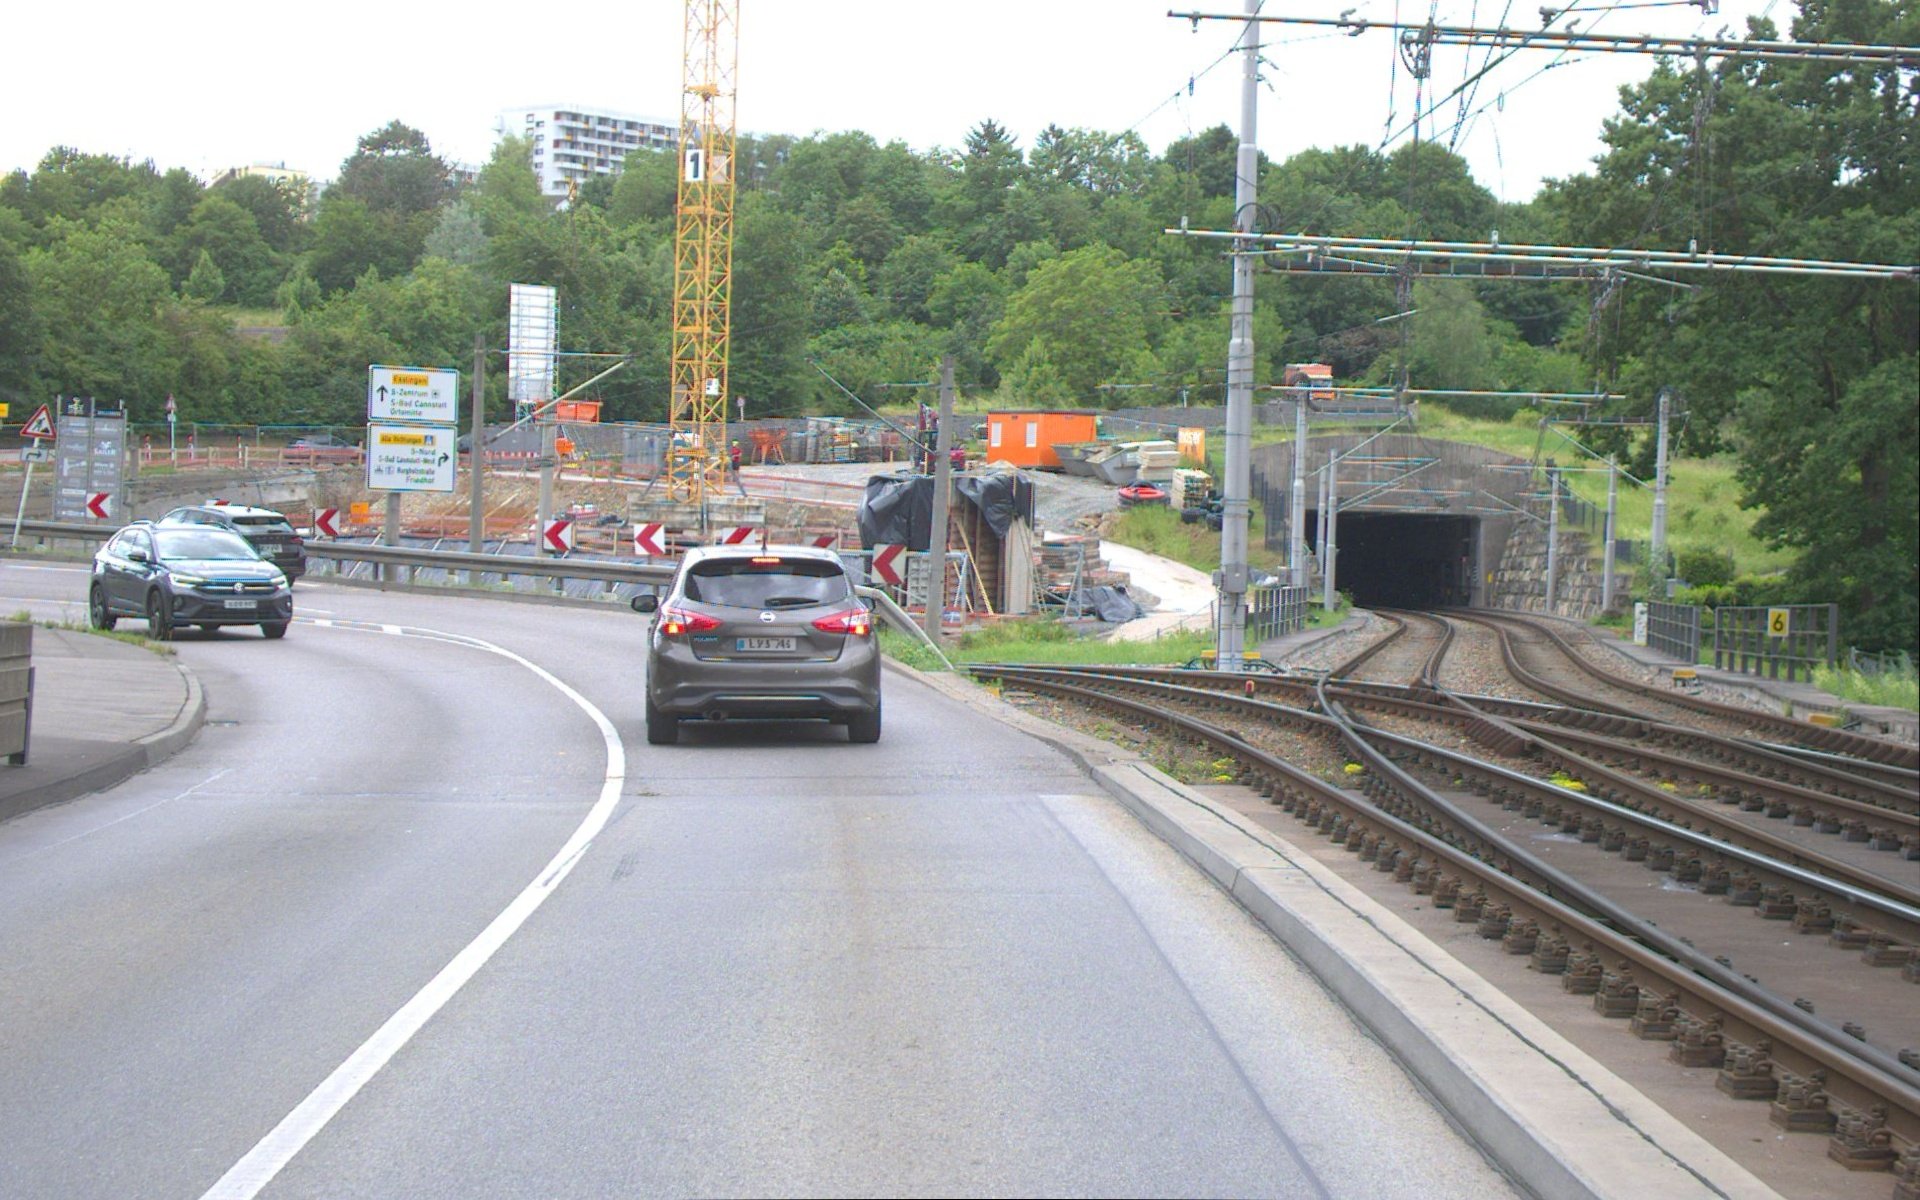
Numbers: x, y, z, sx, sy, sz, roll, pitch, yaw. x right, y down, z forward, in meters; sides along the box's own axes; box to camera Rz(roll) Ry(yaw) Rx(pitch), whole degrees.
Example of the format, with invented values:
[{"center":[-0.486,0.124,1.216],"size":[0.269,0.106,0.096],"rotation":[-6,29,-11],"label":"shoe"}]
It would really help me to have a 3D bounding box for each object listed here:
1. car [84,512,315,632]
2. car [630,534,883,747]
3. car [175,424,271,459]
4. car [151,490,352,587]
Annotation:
[{"center":[-10.211,-0.412,45.960],"size":[1.830,1.504,4.000],"rotation":[-1,2,-31],"label":"car"},{"center":[-1.612,0.259,27.301],"size":[1.829,1.504,4.001],"rotation":[1,1,-3],"label":"car"},{"center":[-33.817,-7.273,157.704],"size":[3.993,1.405,1.797],"rotation":[4,1,26],"label":"car"},{"center":[-12.629,-1.116,61.127],"size":[1.680,1.601,4.308],"rotation":[-1,3,-39],"label":"car"}]
